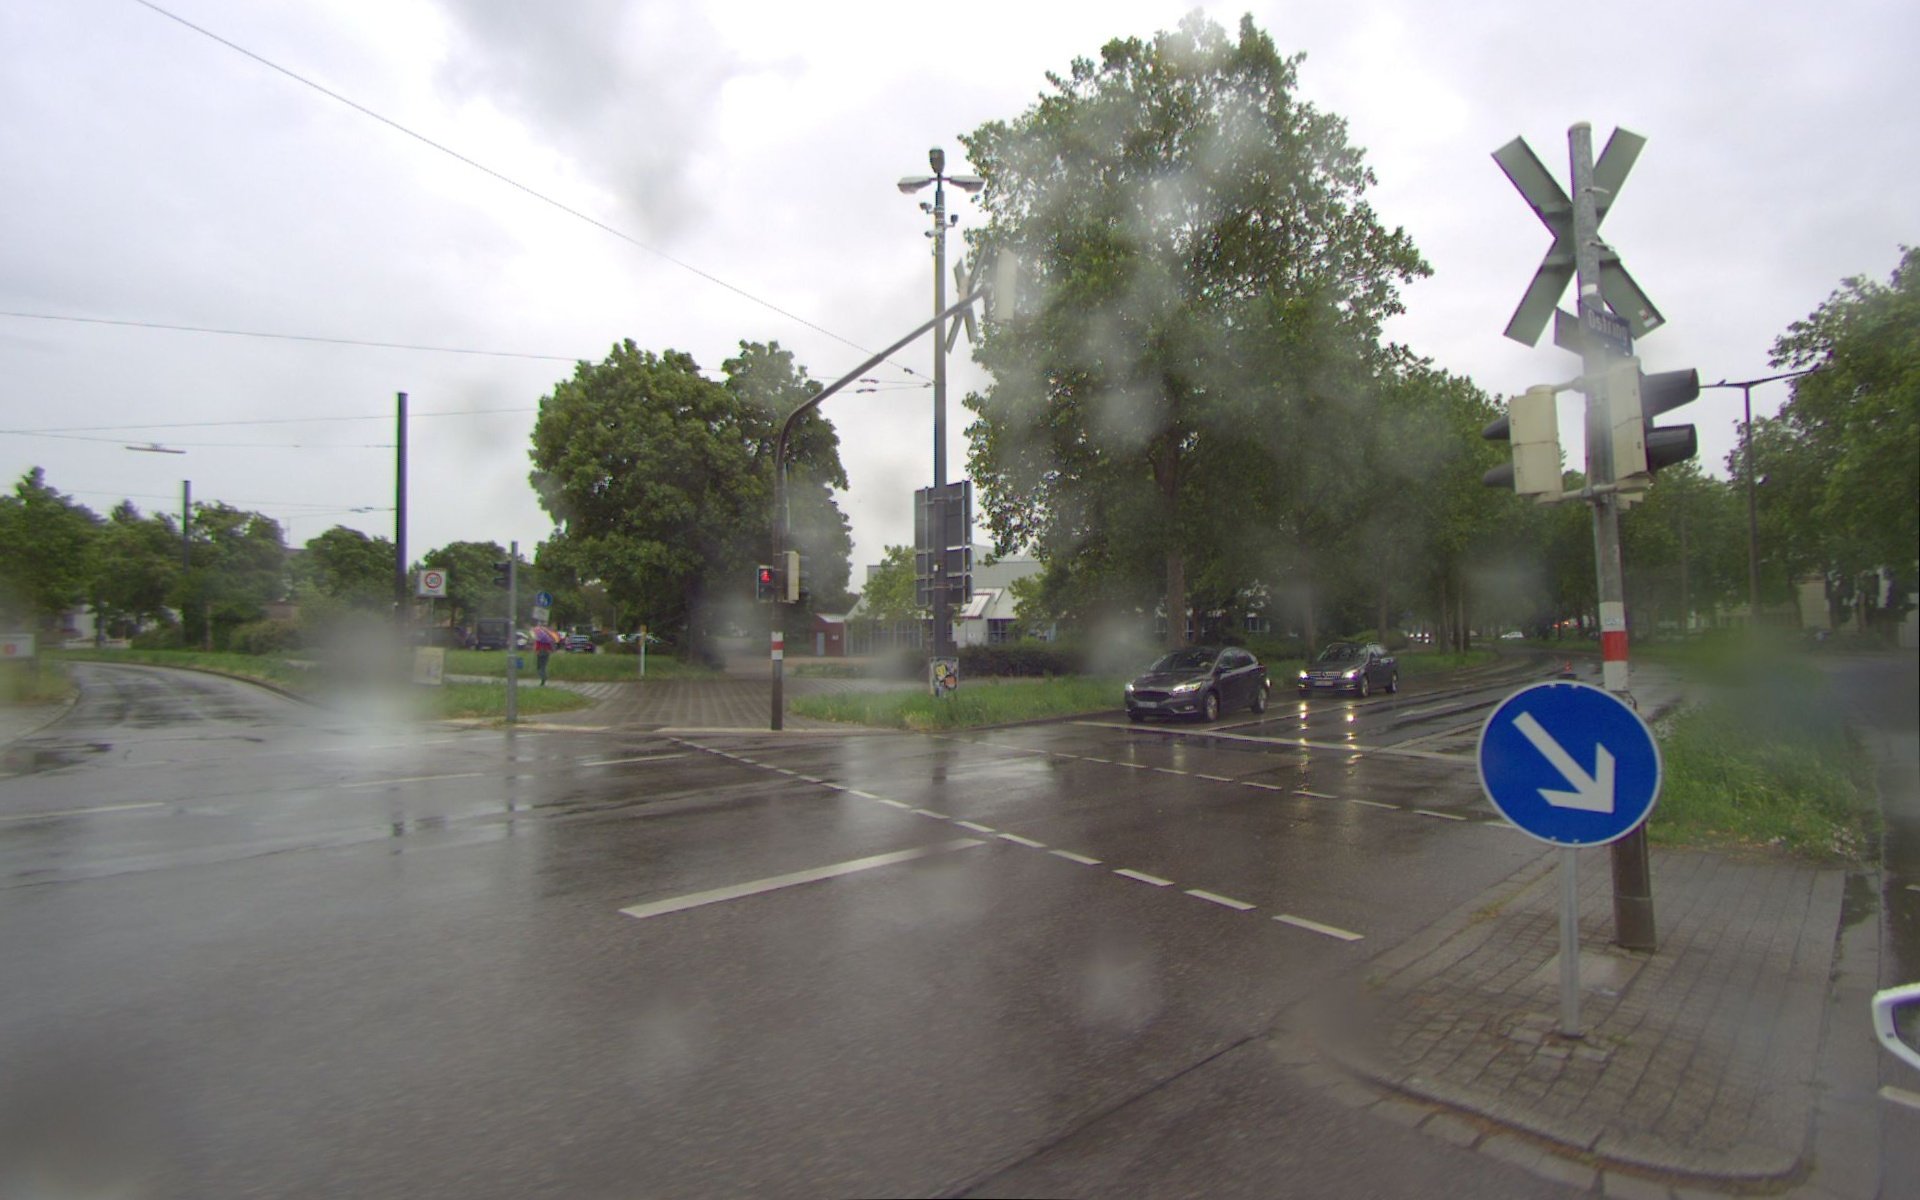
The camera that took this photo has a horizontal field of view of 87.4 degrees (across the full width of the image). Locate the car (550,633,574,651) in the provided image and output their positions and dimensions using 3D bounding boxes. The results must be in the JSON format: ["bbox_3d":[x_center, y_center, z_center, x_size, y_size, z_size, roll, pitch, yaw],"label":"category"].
[{"bbox_3d":[-40.509,4.250,102.198,1.787,1.639,3.907,-1,-1,-15],"label":"car"}]

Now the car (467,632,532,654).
[{"bbox_3d":[-34.700,3.200,75.723,4.109,1.502,1.779,-1,-1,-12],"label":"car"}]

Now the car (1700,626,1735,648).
[{"bbox_3d":[79.425,3.881,105.365,2.088,2.116,3.996,-1,-1,25],"label":"car"}]

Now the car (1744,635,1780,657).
[{"bbox_3d":[70.668,4.030,88.584,1.966,1.806,3.990,-2,-1,32],"label":"car"}]

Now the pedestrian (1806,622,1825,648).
[{"bbox_3d":[64.303,2.627,75.483,0.842,1.976,0.707,-1,0,-15],"label":"pedestrian"}]

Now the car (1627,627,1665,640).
[{"bbox_3d":[91.933,4.496,134.607,3.802,1.524,1.889,-1,-1,15],"label":"car"}]

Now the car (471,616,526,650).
[{"bbox_3d":[-29.493,2.081,64.393,2.273,2.040,5.103,-1,-1,-14],"label":"car"}]

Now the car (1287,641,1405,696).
[{"bbox_3d":[10.853,1.889,28.074,1.778,1.425,4.440,-2,-4,39],"label":"car"}]

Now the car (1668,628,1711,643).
[{"bbox_3d":[88.258,4.313,121.583,3.804,1.673,1.887,-1,-1,21],"label":"car"}]

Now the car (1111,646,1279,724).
[{"bbox_3d":[4.949,1.690,20.712,1.777,1.420,4.298,-4,-4,37],"label":"car"}]

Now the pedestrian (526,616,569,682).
[{"bbox_3d":[-13.016,1.537,31.679,0.947,2.017,0.995,-1,-1,-42],"label":"pedestrian"}]

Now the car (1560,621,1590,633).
[{"bbox_3d":[102.890,4.562,168.137,3.920,1.844,2.001,-1,-1,16],"label":"car"}]

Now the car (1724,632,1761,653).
[{"bbox_3d":[73.916,3.993,94.951,1.963,1.806,3.995,-1,-1,27],"label":"car"}]

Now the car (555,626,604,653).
[{"bbox_3d":[-24.964,2.557,66.031,2.025,1.593,5.008,-1,-1,-10],"label":"car"}]

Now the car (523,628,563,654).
[{"bbox_3d":[-27.260,2.641,65.776,1.726,1.551,4.836,-1,-1,-14],"label":"car"}]
